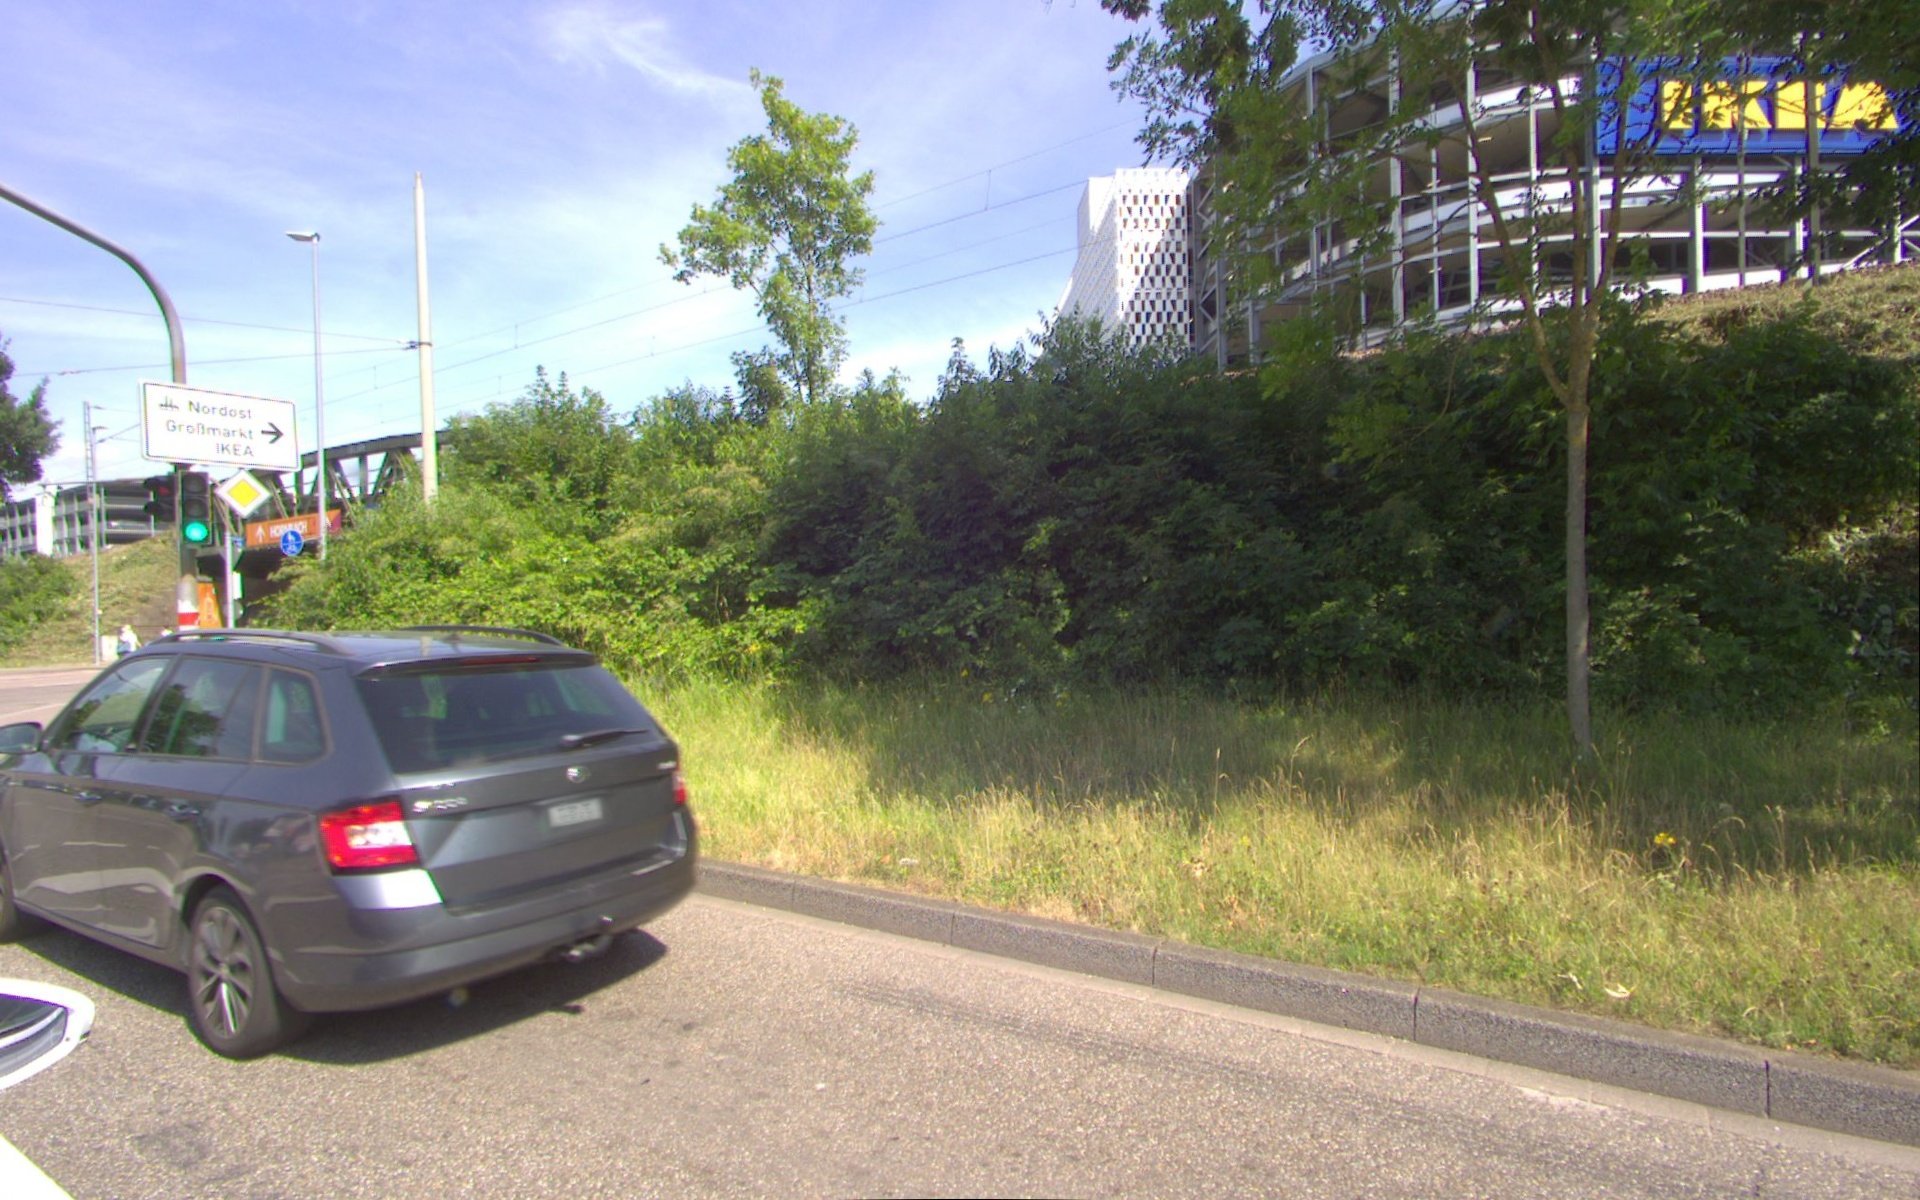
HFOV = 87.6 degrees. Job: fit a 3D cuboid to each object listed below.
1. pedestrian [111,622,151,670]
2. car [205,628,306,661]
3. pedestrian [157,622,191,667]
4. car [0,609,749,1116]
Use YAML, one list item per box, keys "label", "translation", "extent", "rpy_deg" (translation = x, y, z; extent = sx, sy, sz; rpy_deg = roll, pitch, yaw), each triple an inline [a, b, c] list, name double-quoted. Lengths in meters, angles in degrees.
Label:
- label: "pedestrian"
  translation: [-28.977, 1.598, 35.023]
  extent: [0.766, 1.633, 0.866]
  rpy_deg: [-1, 0, 32]
- label: "car"
  translation: [-34.236, 2.137, 48.818]
  extent: [1.961, 1.427, 4.501]
  rpy_deg: [-1, -1, -4]
- label: "pedestrian"
  translation: [-28.211, 1.588, 35.947]
  extent: [0.766, 1.600, 0.728]
  rpy_deg: [-1, 0, 32]
- label: "car"
  translation: [-3.036, 0.819, 4.677]
  extent: [3.977, 1.472, 1.672]
  rpy_deg: [-1, -2, 32]
